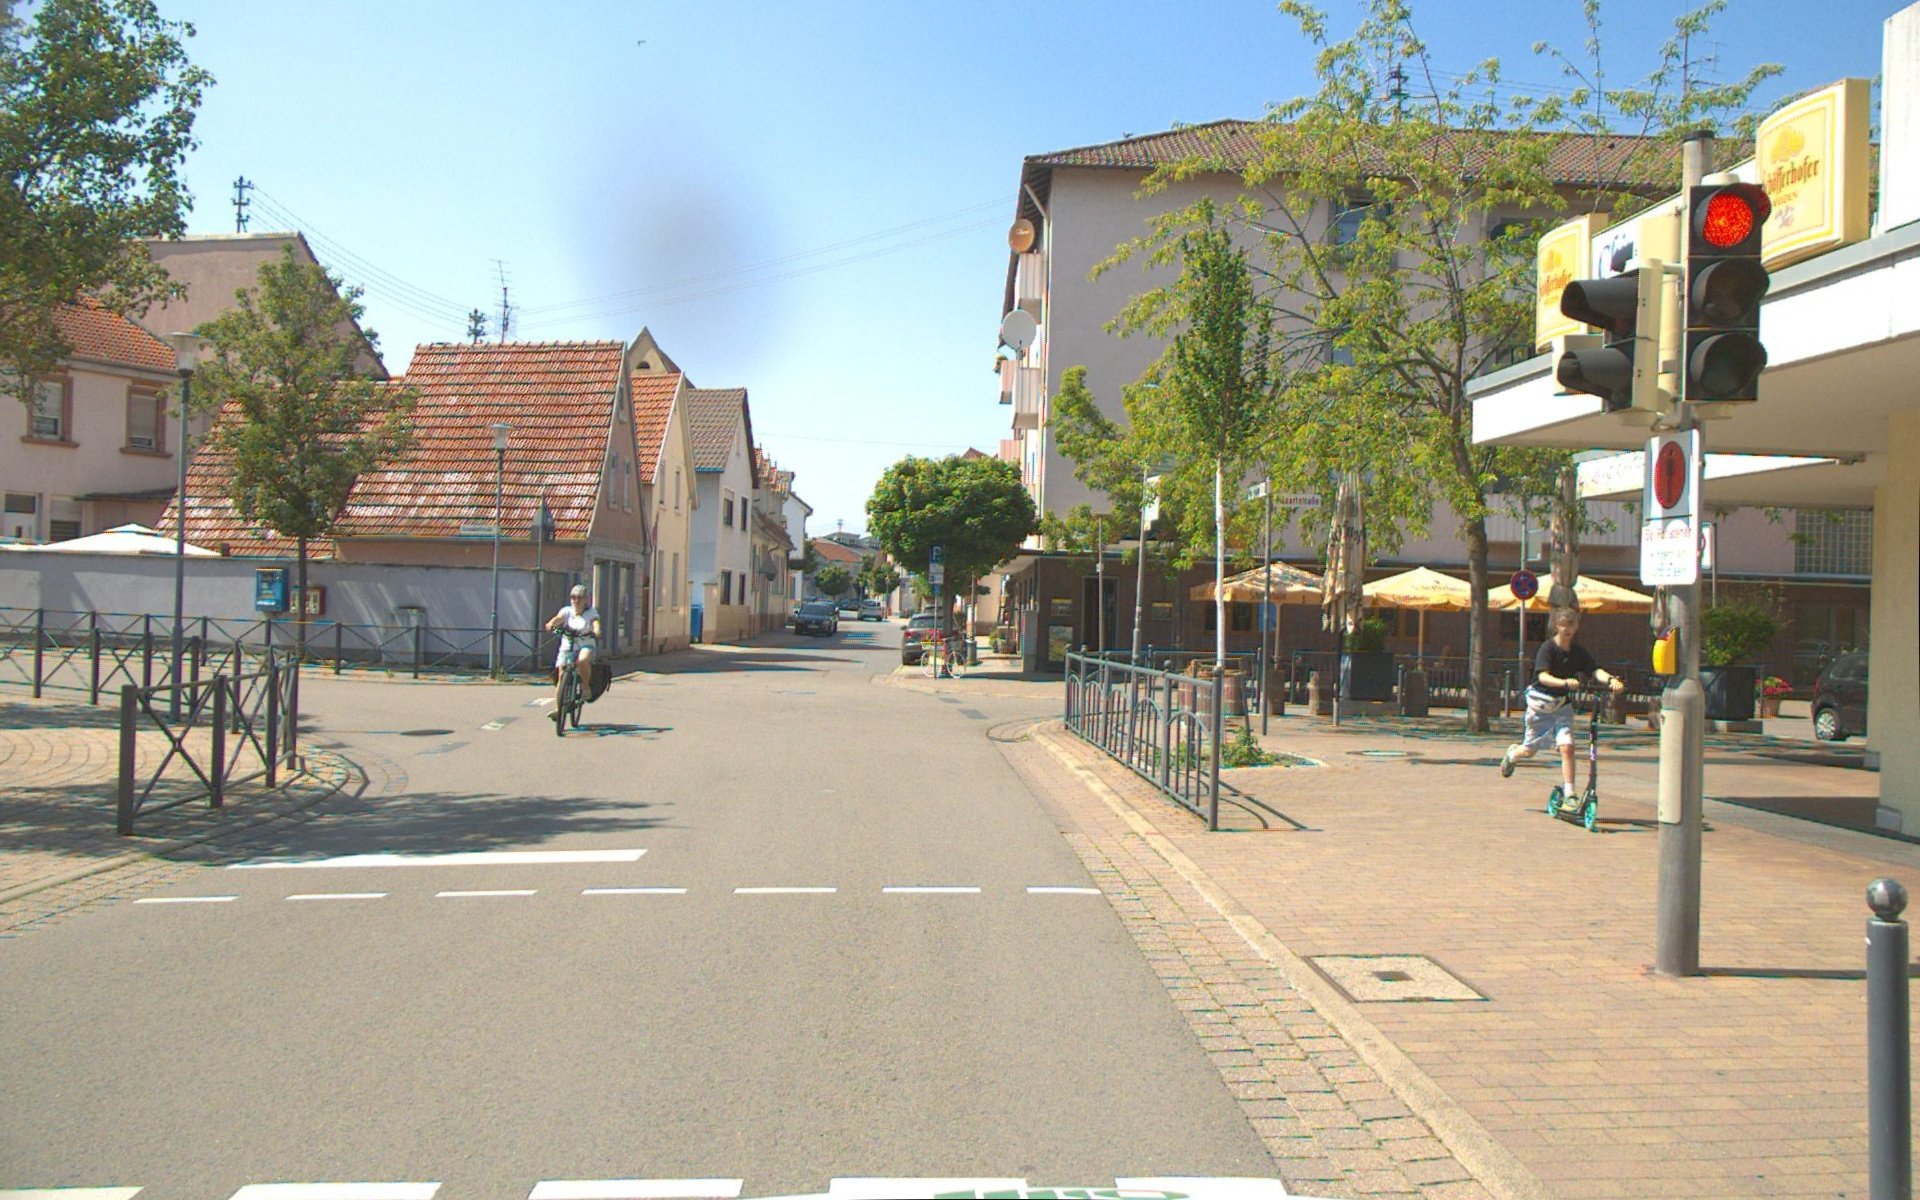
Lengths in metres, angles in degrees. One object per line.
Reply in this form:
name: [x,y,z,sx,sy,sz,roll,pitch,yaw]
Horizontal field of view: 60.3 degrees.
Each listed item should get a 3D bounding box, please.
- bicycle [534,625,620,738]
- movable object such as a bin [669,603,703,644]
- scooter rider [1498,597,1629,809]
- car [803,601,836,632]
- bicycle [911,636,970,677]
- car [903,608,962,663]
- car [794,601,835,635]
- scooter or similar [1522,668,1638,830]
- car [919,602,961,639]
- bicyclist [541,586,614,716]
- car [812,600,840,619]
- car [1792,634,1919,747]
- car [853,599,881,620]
bicycle: [-4.629,0.959,20.094,0.694,1.274,1.970,1,0,-4]
movable object such as a bin: [-9.369,0.802,56.617,1.078,1.389,0.390,1,-1,3]
scooter rider: [4.042,0.663,11.136,0.452,1.348,1.133,1,0,0]
car: [-7.170,0.823,84.624,1.630,1.502,3.447,1,0,-5]
bicycle: [-0.462,1.317,38.548,1.386,0.913,0.463,0,0,36]
car: [-0.747,0.985,47.166,1.543,1.479,3.486,1,-1,1]
car: [-6.848,0.833,78.075,1.629,1.502,4.133,1,0,-1]
scooter or similar: [4.071,0.957,10.901,0.402,0.982,0.960,1,0,1]
car: [-0.982,0.988,81.029,2.001,1.718,4.840,1,0,-1]
bicyclist: [-4.626,0.606,20.046,0.700,1.533,0.870,1,0,-4]
car: [-11.384,0.835,140.444,1.874,1.507,4.832,1,-1,-10]
car: [14.057,1.306,23.896,1.733,1.536,3.965,2,-1,-7]
car: [-7.475,0.730,132.798,1.988,1.626,4.502,1,0,-7]
